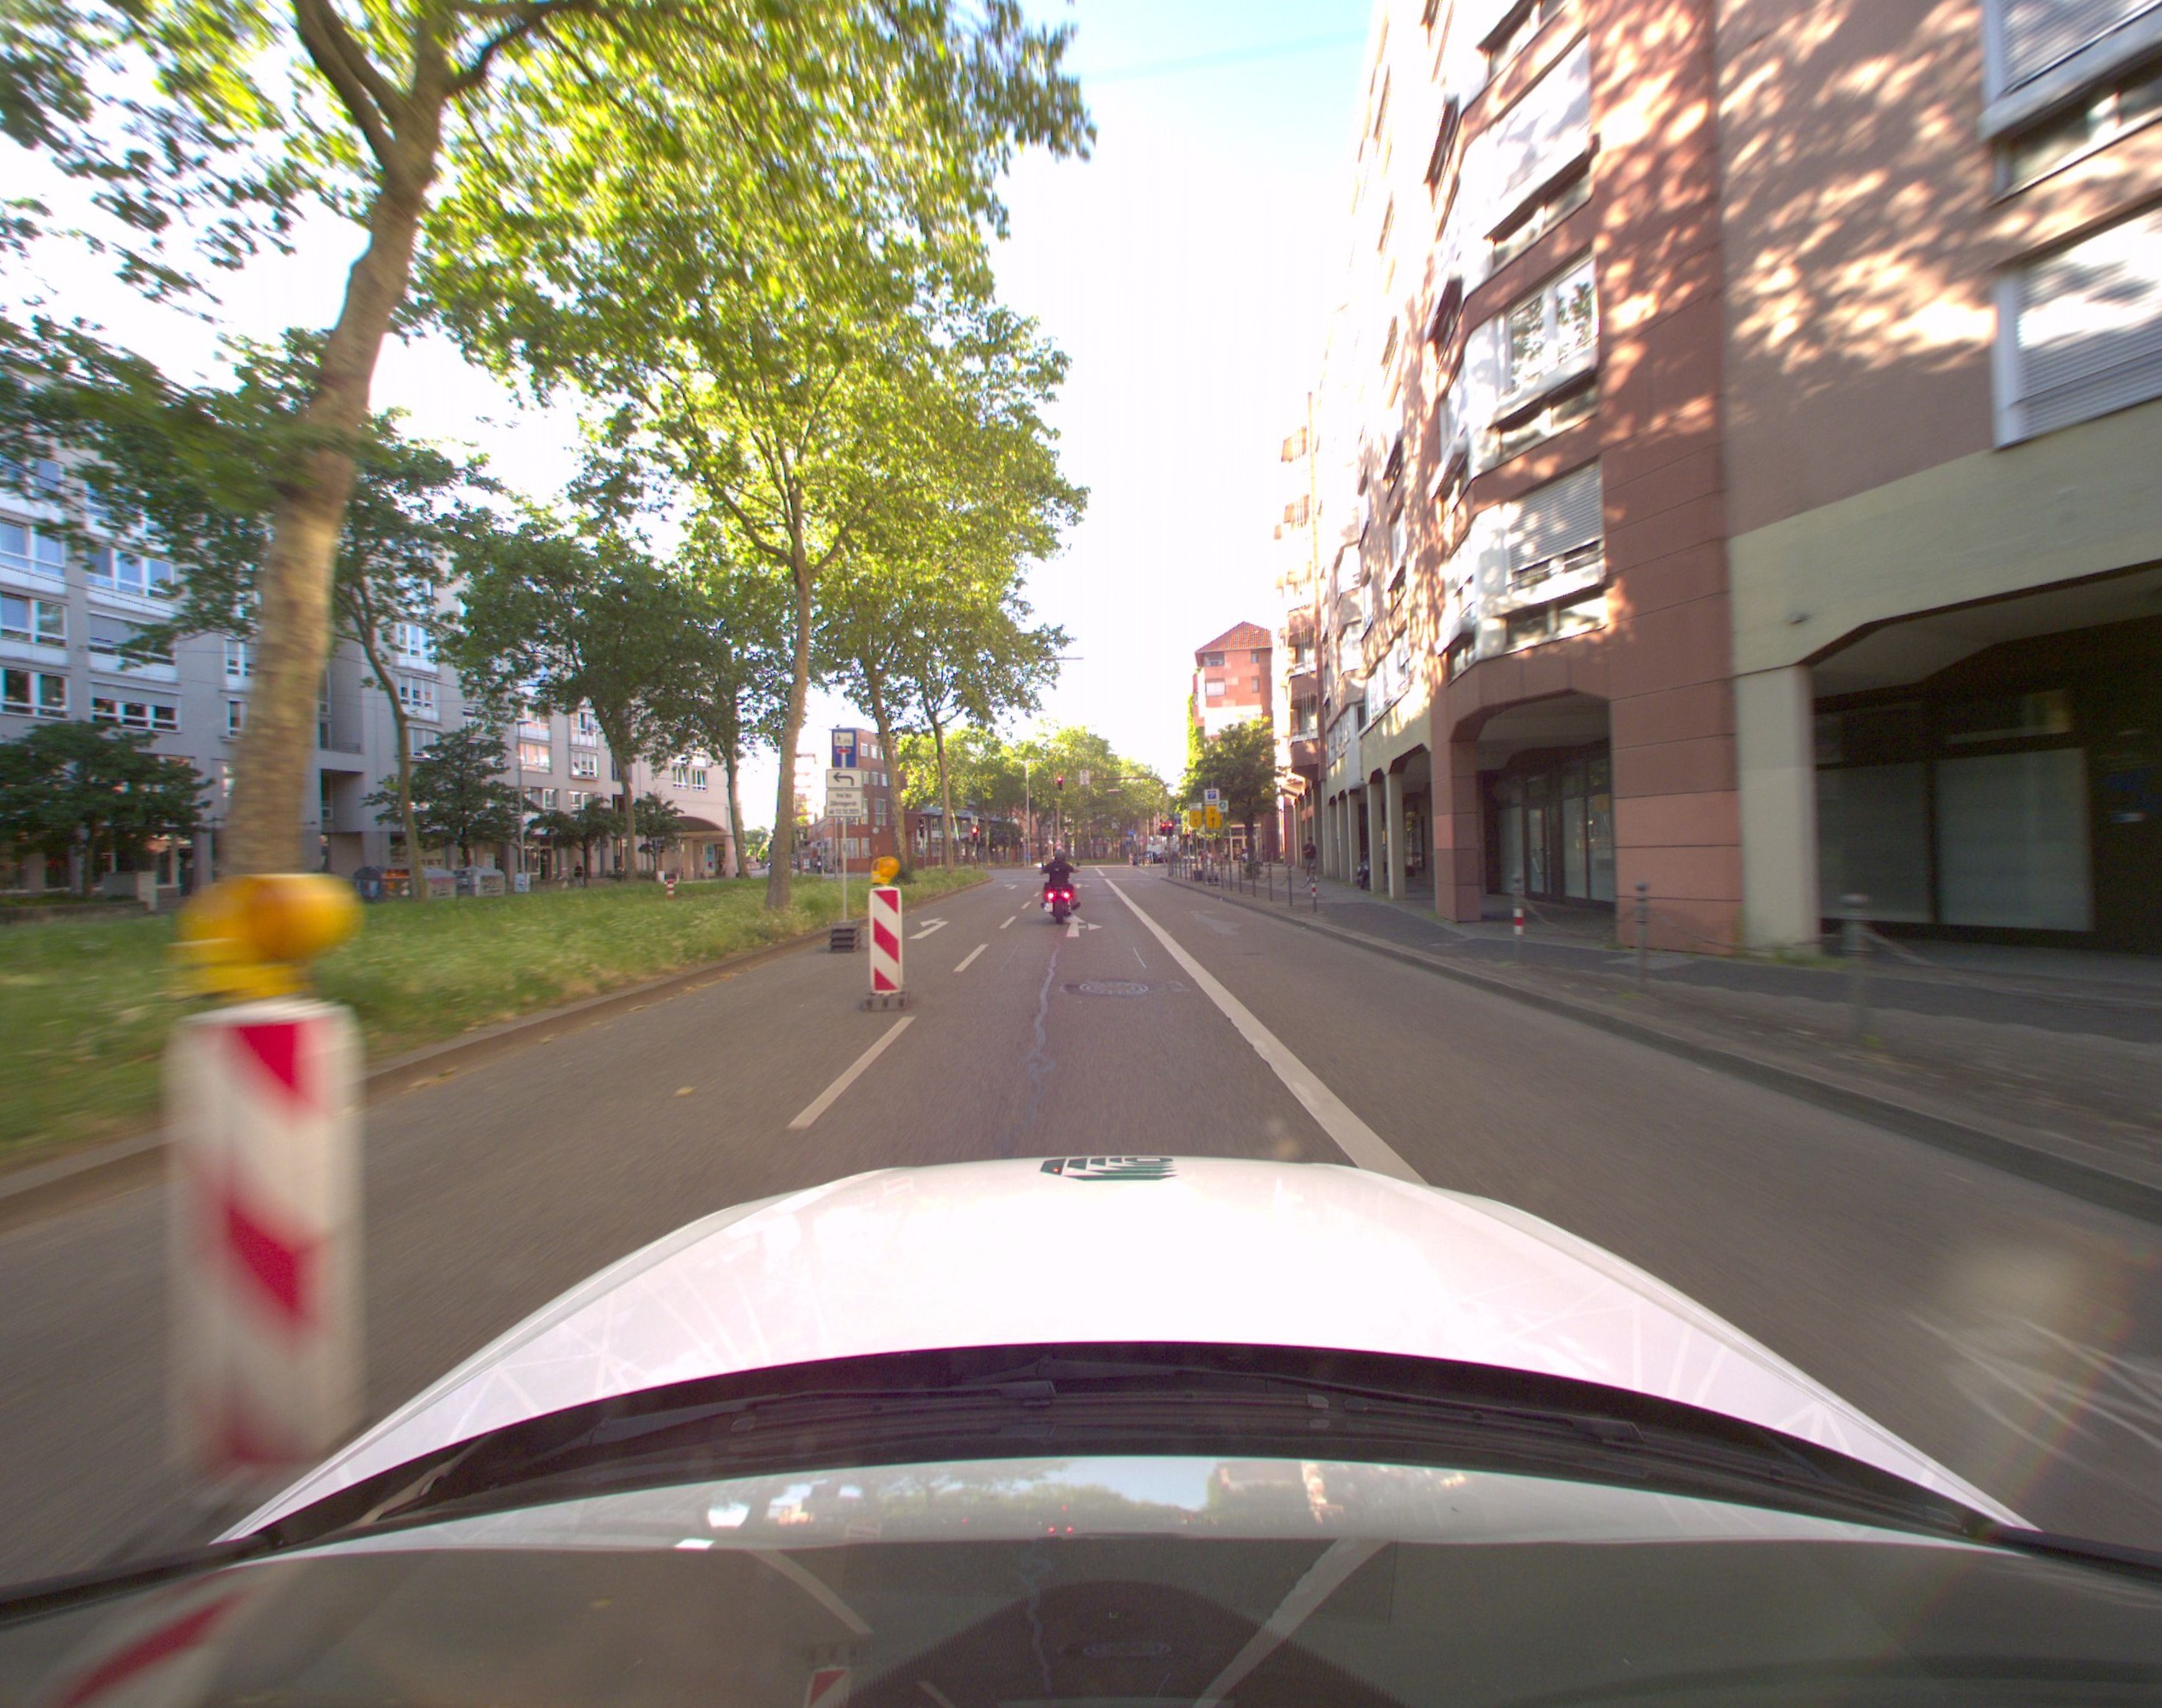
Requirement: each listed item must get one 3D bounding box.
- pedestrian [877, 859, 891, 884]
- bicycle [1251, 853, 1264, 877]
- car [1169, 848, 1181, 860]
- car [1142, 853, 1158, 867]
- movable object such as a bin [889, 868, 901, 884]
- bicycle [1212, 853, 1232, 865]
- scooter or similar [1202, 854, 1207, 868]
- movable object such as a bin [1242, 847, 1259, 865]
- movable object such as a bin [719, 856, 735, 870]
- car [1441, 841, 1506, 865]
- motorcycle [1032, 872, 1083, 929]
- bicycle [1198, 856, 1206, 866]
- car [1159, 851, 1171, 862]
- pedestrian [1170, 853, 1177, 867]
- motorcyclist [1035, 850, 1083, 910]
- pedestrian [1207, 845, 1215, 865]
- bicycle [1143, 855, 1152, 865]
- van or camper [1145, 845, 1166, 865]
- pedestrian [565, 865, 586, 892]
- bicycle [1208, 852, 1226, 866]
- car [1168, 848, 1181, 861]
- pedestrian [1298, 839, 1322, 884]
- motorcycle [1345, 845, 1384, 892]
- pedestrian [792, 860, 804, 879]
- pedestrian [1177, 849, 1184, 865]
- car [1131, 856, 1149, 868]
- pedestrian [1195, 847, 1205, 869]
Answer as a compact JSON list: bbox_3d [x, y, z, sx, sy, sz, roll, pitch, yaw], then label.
[{"bbox_3d":[-11.941,1.067,49.319,0.614,1.503,0.536,-2,0,13],"label":"pedestrian"},{"bbox_3d":[9.589,0.570,44.158,0.617,1.225,1.933,-2,0,13],"label":"bicycle"},{"bbox_3d":[15.871,0.005,137.246,1.824,2.013,4.400,-2,0,10],"label":"car"},{"bbox_3d":[8.596,0.705,101.271,1.610,1.619,4.498,-2,0,10],"label":"car"},{"bbox_3d":[-11.301,1.318,49.471,0.506,0.953,0.541,-2,0,14],"label":"movable object such as a bin"},{"bbox_3d":[13.565,0.482,78.368,1.730,1.053,0.744,-2,0,28],"label":"bicycle"},{"bbox_3d":[10.342,0.602,68.175,0.392,1.158,1.252,-2,0,6],"label":"scooter or similar"},{"bbox_3d":[15.090,0.175,72.582,1.400,1.482,0.874,-2,0,12],"label":"movable object such as a bin"},{"bbox_3d":[-59.285,1.548,136.334,1.929,2.310,2.775,-2,0,-14],"label":"movable object such as a bin"},{"bbox_3d":[30.416,-0.096,63.198,4.160,1.722,1.806,-2,0,9],"label":"car"},{"bbox_3d":[-0.486,0.980,17.758,1.015,1.097,2.007,-1,0,0],"label":"motorcycle"},{"bbox_3d":[12.428,0.705,83.630,0.733,0.939,1.754,-2,0,5],"label":"bicycle"},{"bbox_3d":[12.471,0.334,120.660,1.611,1.610,3.783,-2,0,9],"label":"car"},{"bbox_3d":[10.221,0.676,90.186,0.641,1.578,0.749,-2,0,4],"label":"pedestrian"},{"bbox_3d":[-0.460,0.555,17.759,1.008,1.263,0.774,1,0,0],"label":"motorcyclist"},{"bbox_3d":[10.903,0.067,68.166,0.458,1.672,0.679,-2,0,-5],"label":"pedestrian"},{"bbox_3d":[6.913,0.637,84.385,0.735,1.053,1.751,-1,-1,-1],"label":"bicycle"},{"bbox_3d":[9.882,0.136,107.725,2.036,2.540,5.790,-2,0,10],"label":"van or camper"},{"bbox_3d":[-31.414,1.503,50.604,0.702,1.638,0.791,-2,0,11],"label":"pedestrian"},{"bbox_3d":[12.575,0.450,75.371,1.559,1.227,0.579,-2,0,6],"label":"bicycle"},{"bbox_3d":[15.117,0.135,131.756,1.824,2.013,4.400,-2,0,10],"label":"car"},{"bbox_3d":[8.937,0.287,31.757,0.776,1.738,0.839,-2,0,9],"label":"pedestrian"},{"bbox_3d":[8.795,0.432,25.332,0.486,1.372,2.091,-2,0,1],"label":"motorcycle"},{"bbox_3d":[-29.201,1.591,83.915,0.850,1.869,0.754,-2,0,8],"label":"pedestrian"},{"bbox_3d":[10.944,0.349,89.912,0.697,1.733,0.768,-2,0,4],"label":"pedestrian"},{"bbox_3d":[6.656,0.884,91.427,1.610,1.302,4.323,-2,0,9],"label":"car"},{"bbox_3d":[9.967,0.330,68.252,0.781,1.763,0.611,-2,0,9],"label":"pedestrian"}]
